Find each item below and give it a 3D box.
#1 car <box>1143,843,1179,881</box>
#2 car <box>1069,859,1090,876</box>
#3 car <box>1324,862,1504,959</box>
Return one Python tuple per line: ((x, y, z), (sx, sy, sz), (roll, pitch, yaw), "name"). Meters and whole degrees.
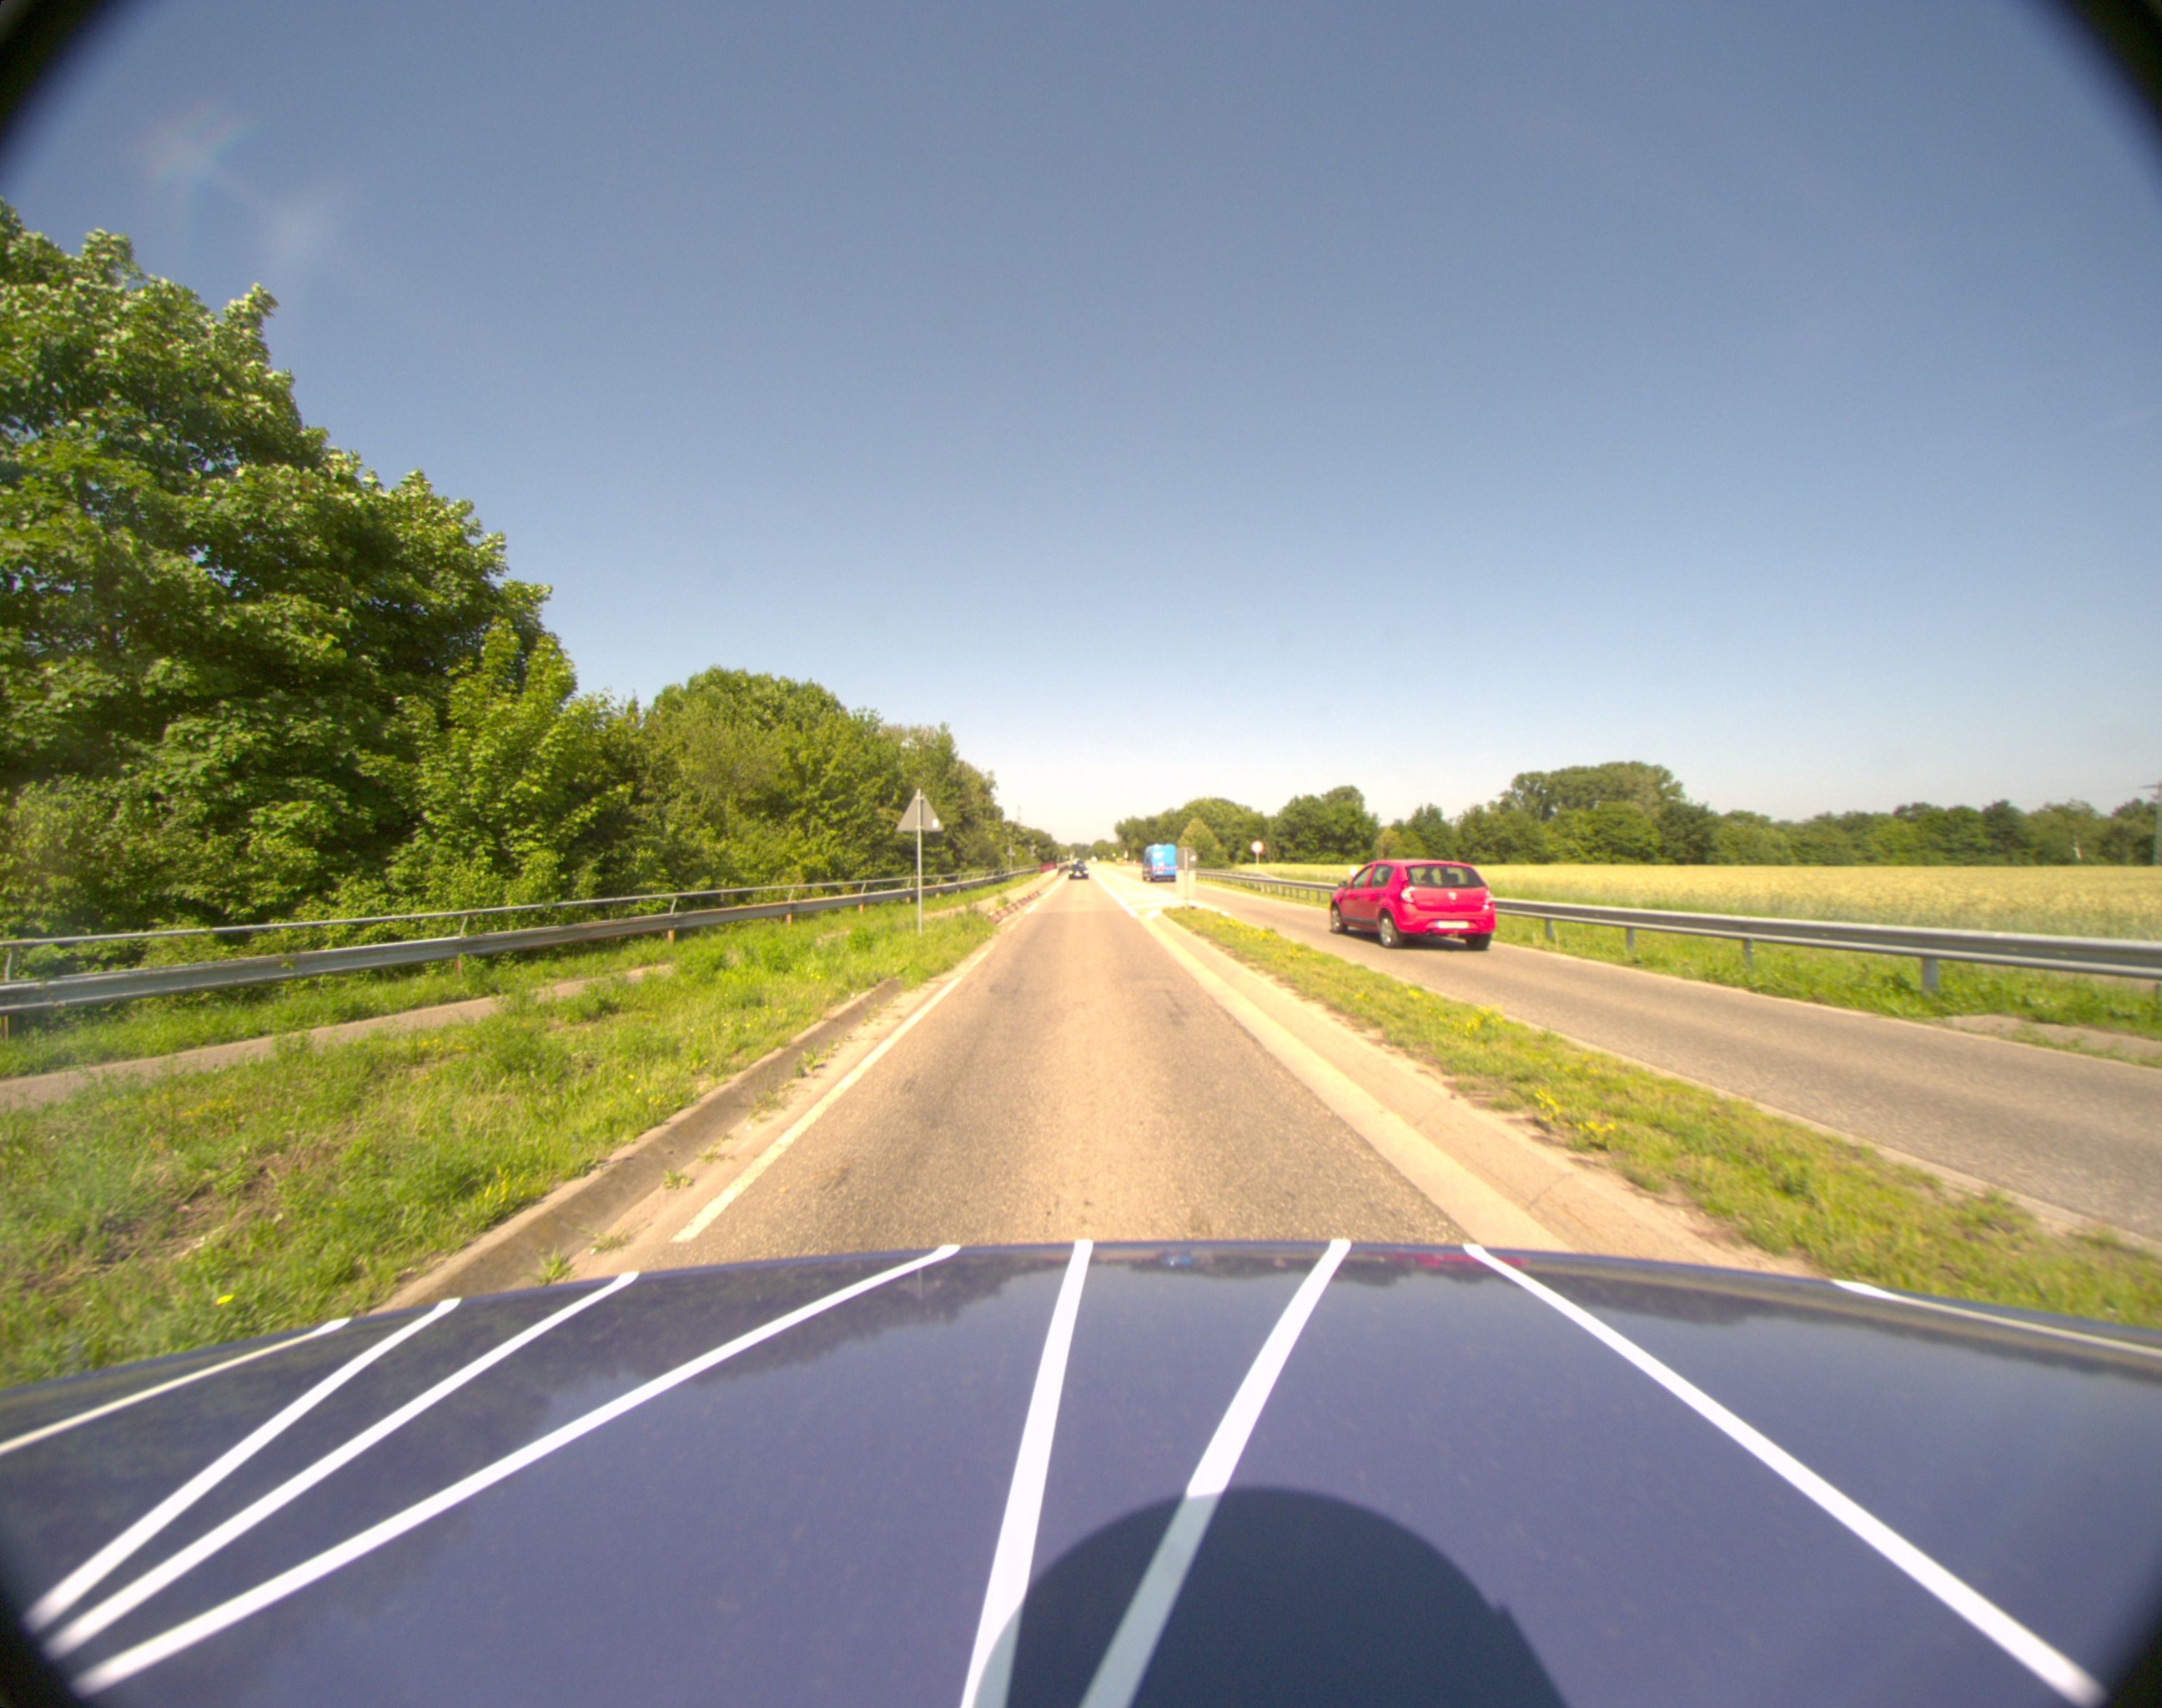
((5.881, 0.555, 56.440), (1.998, 2.596, 7.291), (1, 0, 1), "car")
((-0.114, 1.200, 68.811), (1.806, 1.390, 4.180), (-1, 0, 1), "car")
((5.906, 0.923, 13.999), (1.631, 1.482, 3.802), (0, 0, 0), "car")
